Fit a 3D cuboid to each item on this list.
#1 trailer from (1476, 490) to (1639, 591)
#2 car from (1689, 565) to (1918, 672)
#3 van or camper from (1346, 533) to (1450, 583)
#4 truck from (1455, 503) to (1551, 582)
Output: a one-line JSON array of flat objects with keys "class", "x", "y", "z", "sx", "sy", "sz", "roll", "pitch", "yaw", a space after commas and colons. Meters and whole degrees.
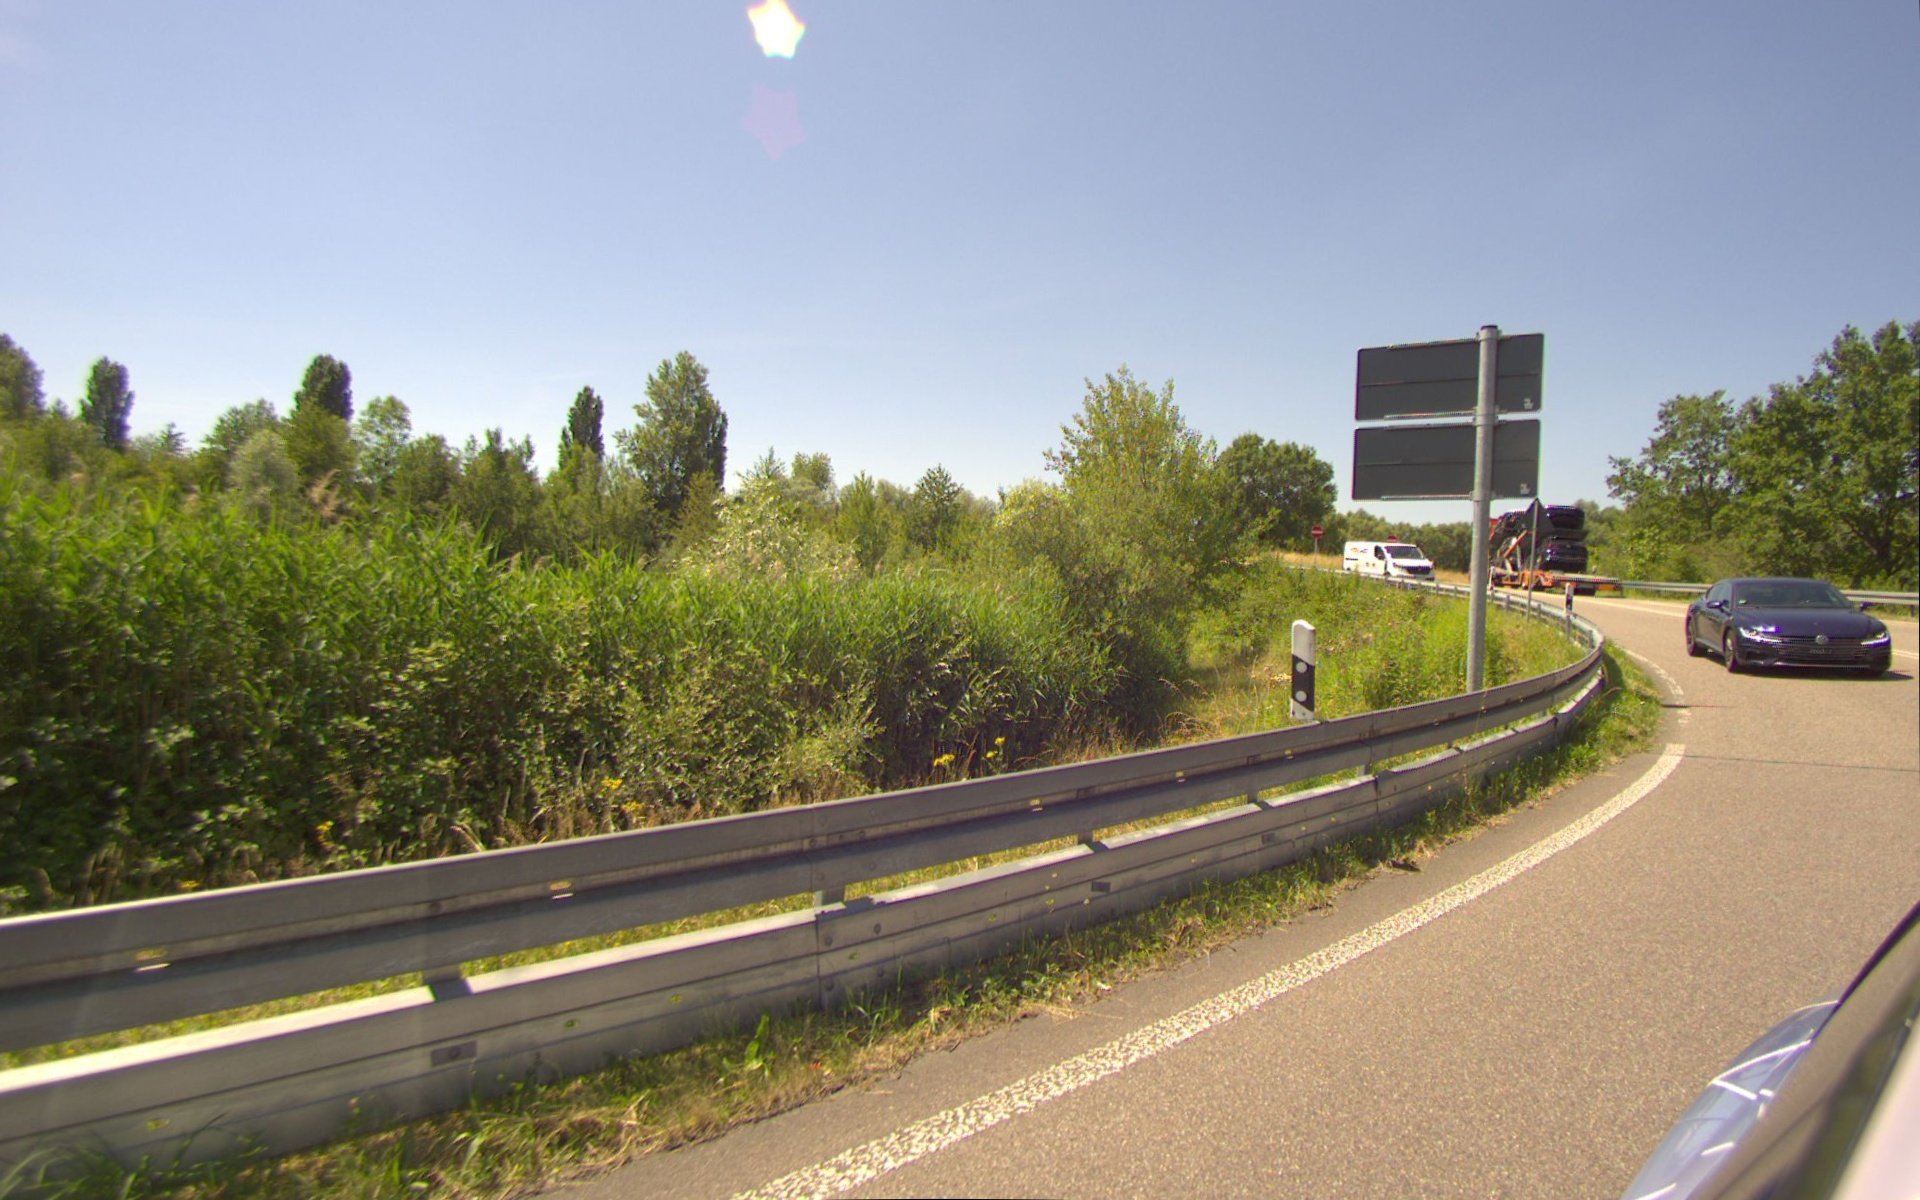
[{"class": "trailer", "x": 27.002, "y": -2.693, "z": 46.722, "sx": 2.762, "sy": 3.945, "sz": 13.928, "roll": 0, "pitch": 3, "yaw": 15}, {"class": "car", "x": 13.230, "y": 0.220, "z": 16.199, "sx": 1.826, "sy": 1.448, "sz": 4.491, "roll": -1, "pitch": 1, "yaw": 27}, {"class": "van or camper", "x": 19.338, "y": -1.855, "z": 44.989, "sx": 1.970, "sy": 2.056, "sz": 5.454, "roll": -1, "pitch": 2, "yaw": -4}, {"class": "truck", "x": 29.285, "y": -3.102, "z": 54.998, "sx": 2.760, "sy": 3.945, "sz": 8.740, "roll": 0, "pitch": 3, "yaw": 16}]
